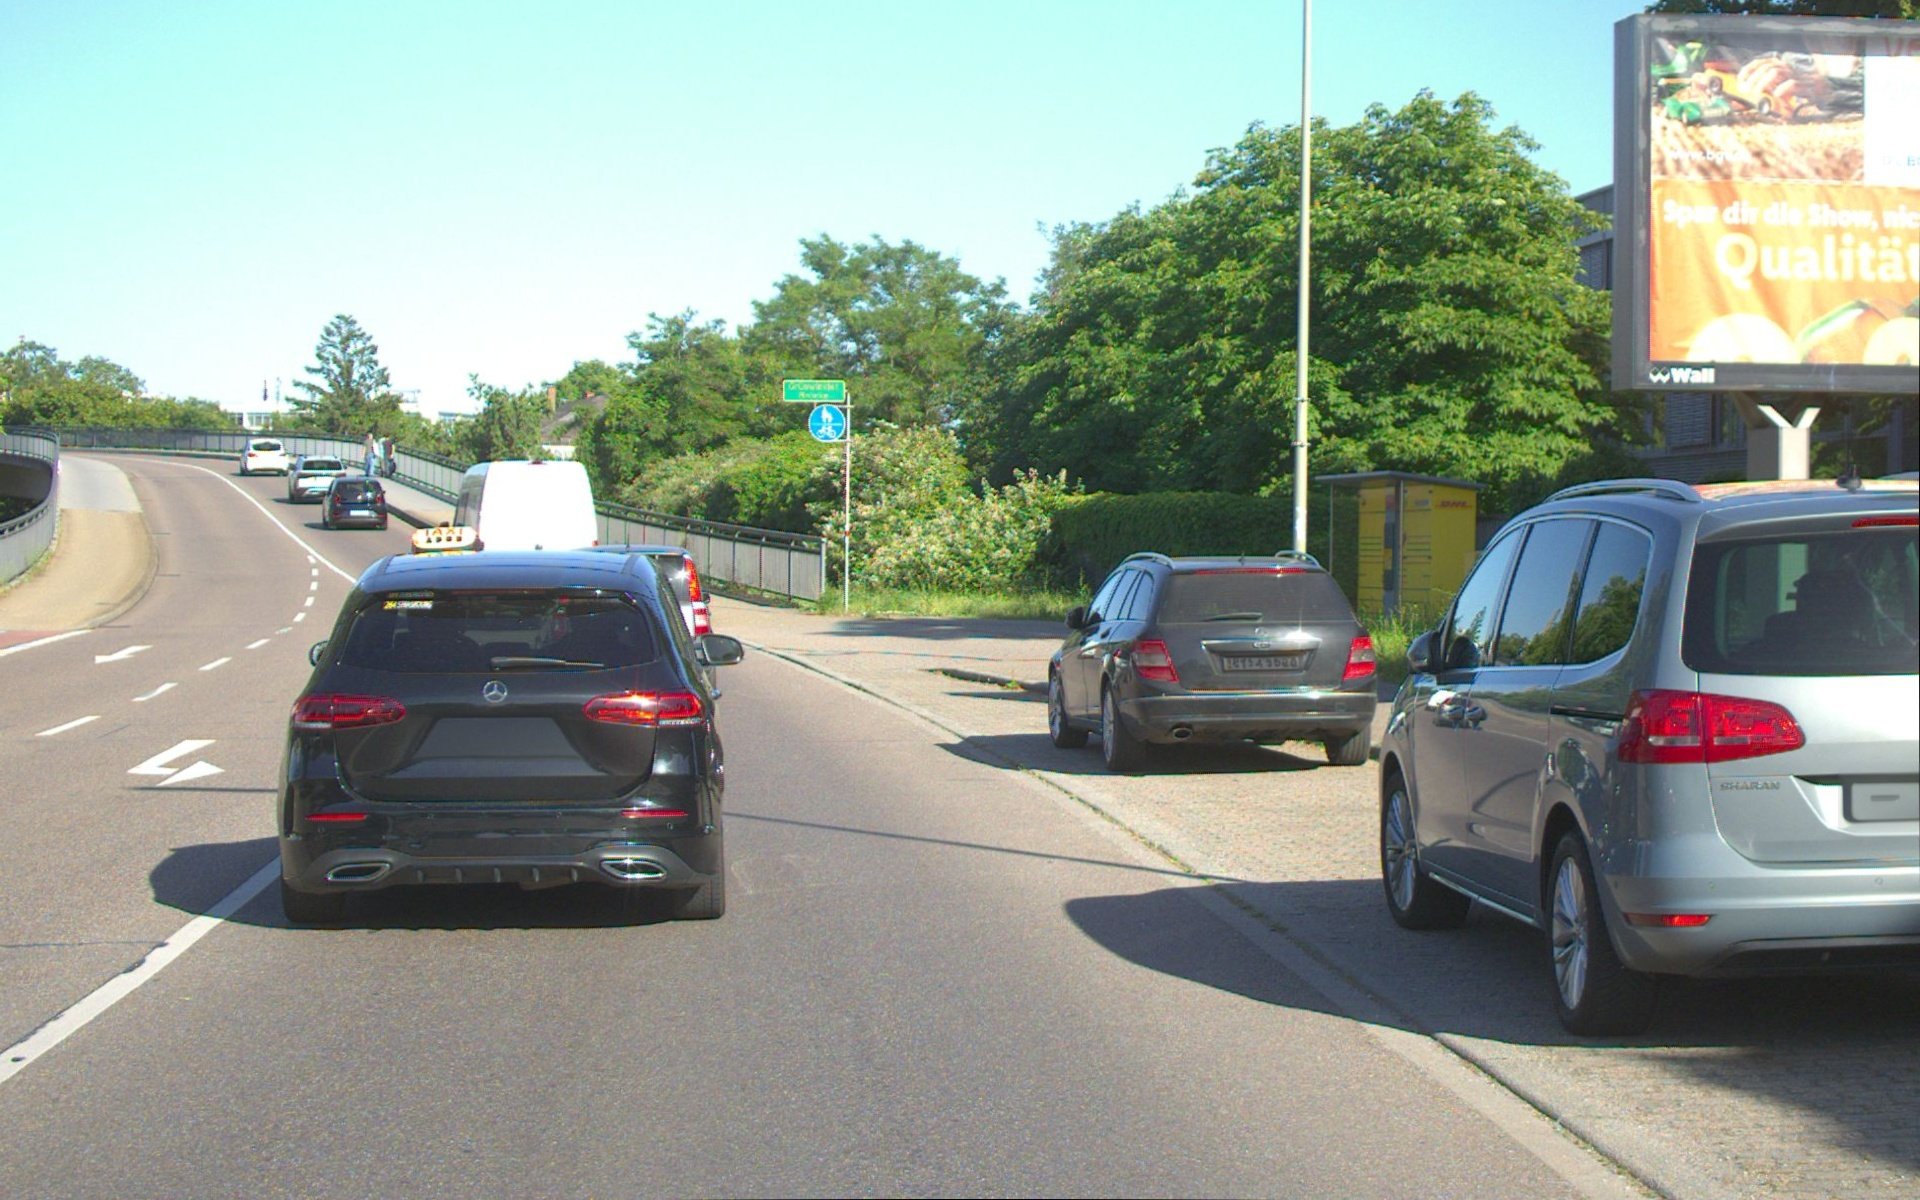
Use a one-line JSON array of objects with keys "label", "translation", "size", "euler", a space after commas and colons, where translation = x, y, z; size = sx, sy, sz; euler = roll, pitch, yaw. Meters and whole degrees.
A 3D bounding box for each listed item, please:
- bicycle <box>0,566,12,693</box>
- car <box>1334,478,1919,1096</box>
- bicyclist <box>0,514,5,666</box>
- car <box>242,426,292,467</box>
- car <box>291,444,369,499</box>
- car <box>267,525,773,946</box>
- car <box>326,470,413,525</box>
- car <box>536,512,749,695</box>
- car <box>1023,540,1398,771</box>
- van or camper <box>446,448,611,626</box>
[{"label": "bicycle", "translation": [-9.706, 0.289, 33.326], "size": [0.792, 1.221, 3.214], "euler": [1, 1, -12]}, {"label": "car", "translation": [2.652, 0.482, 11.999], "size": [1.872, 1.716, 4.613], "euler": [-1, 1, -4]}, {"label": "bicyclist", "translation": [-9.715, -0.100, 33.391], "size": [0.772, 1.479, 0.826], "euler": [1, 1, -12]}, {"label": "car", "translation": [-27.978, -6.187, 138.896], "size": [1.876, 1.538, 4.001], "euler": [1, 2, -11]}, {"label": "car", "translation": [-20.648, -4.199, 112.794], "size": [1.993, 1.674, 4.000], "euler": [0, 1, -3]}, {"label": "car", "translation": [-1.794, 0.492, 15.182], "size": [1.769, 1.587, 3.989], "euler": [1, 1, -1]}, {"label": "car", "translation": [-16.835, -2.905, 98.228], "size": [1.918, 1.483, 4.270], "euler": [0, 1, -2]}, {"label": "car", "translation": [-3.010, 0.019, 33.267], "size": [1.804, 1.634, 4.000], "euler": [1, 0, -2]}, {"label": "car", "translation": [1.653, 0.317, 24.242], "size": [1.808, 1.414, 4.425], "euler": [-1, 1, -7]}, {"label": "van or camper", "translation": [-7.262, -1.086, 57.220], "size": [2.225, 2.729, 7.082], "euler": [1, 2, -11]}]
